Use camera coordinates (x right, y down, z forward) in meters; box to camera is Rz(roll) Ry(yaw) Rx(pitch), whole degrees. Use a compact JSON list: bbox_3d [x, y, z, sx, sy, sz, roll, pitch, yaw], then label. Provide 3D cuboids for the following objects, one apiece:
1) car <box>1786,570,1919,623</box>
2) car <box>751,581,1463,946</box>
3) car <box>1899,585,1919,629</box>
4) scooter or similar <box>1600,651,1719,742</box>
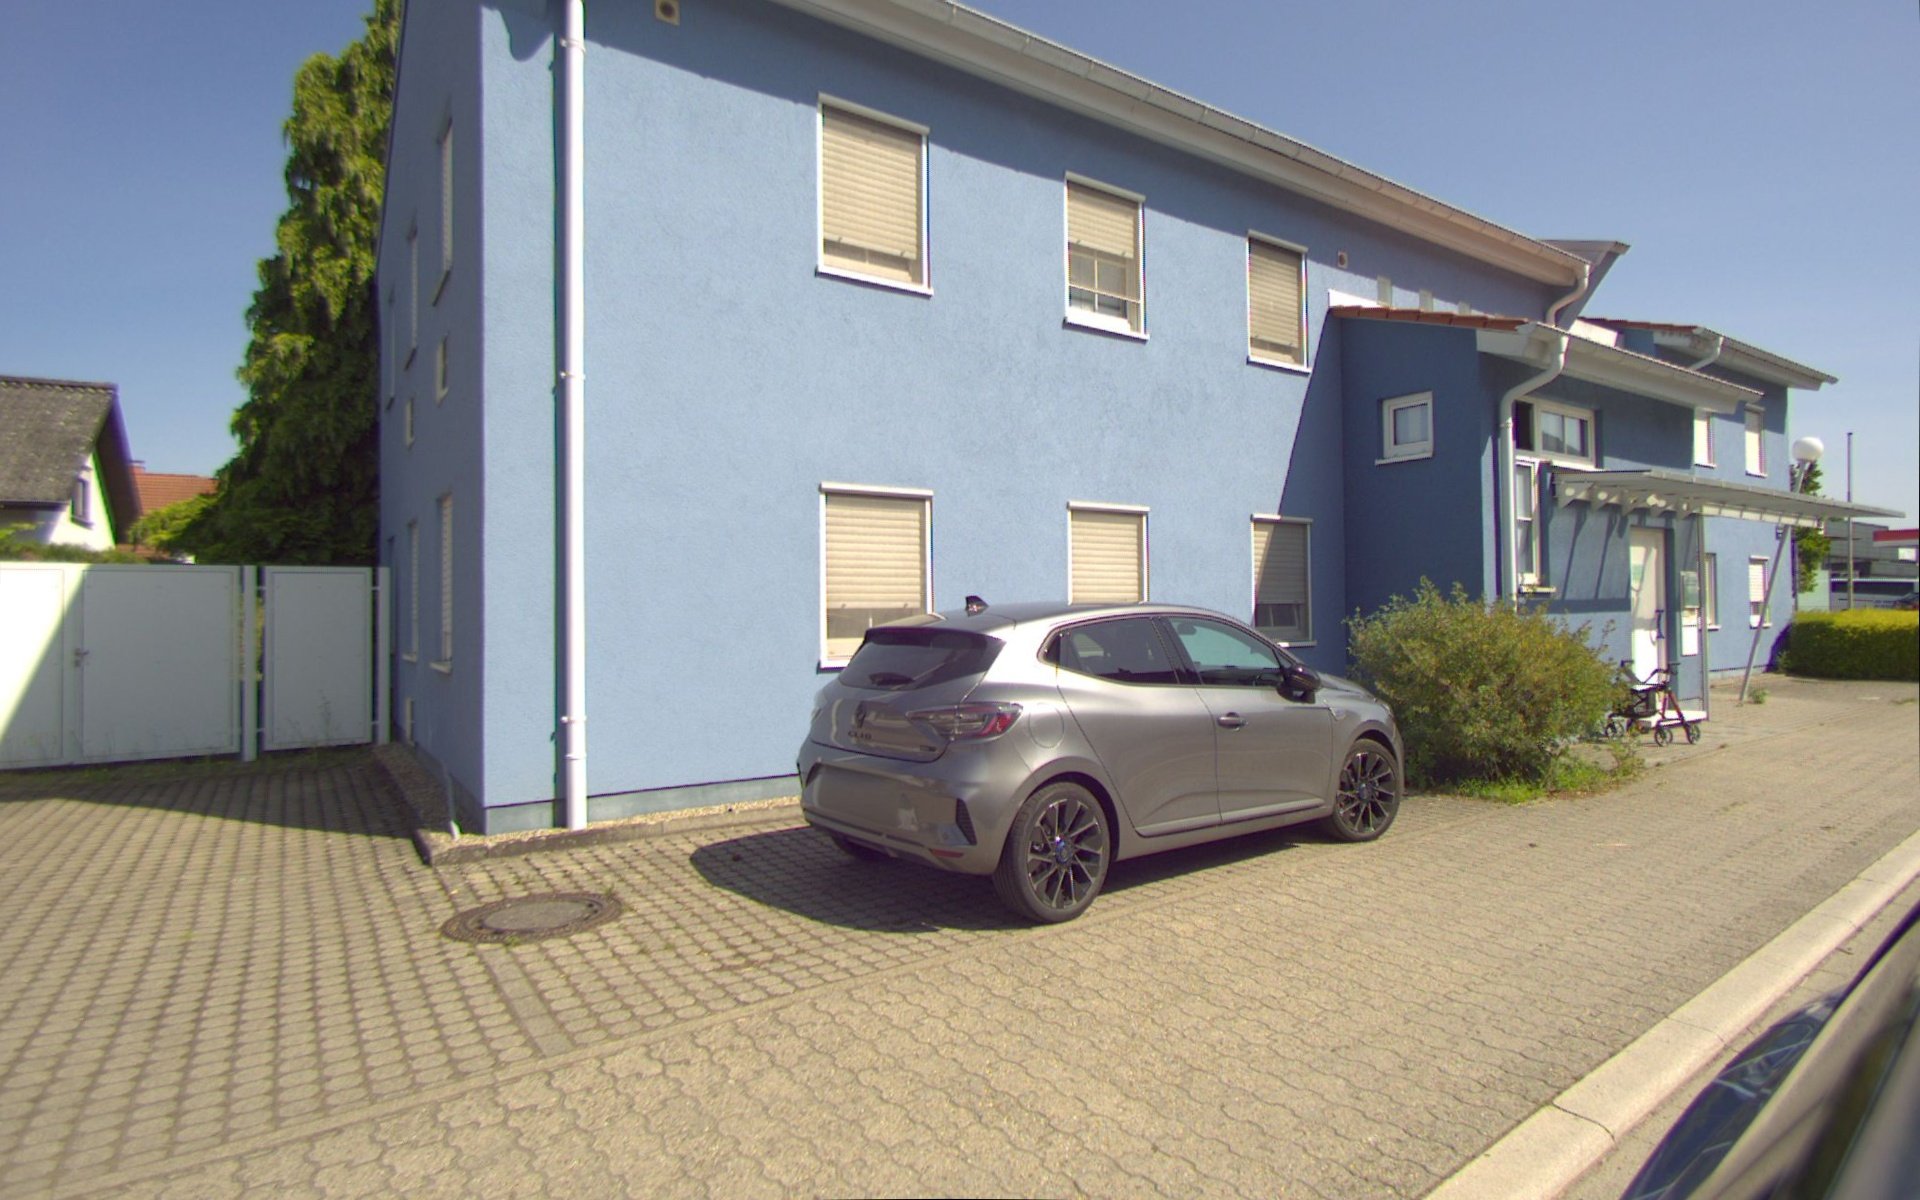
[{"bbox_3d":[36.660,-0.143,40.717,5.260,2.039,2.200,0,0,39],"label":"car"},{"bbox_3d":[1.031,0.640,5.902,4.068,1.438,1.694,-1,-1,-36],"label":"car"},{"bbox_3d":[36.691,0.226,36.089,4.278,1.570,1.965,0,0,29],"label":"car"},{"bbox_3d":[7.146,0.962,10.352,0.811,0.825,0.730,-1,0,-32],"label":"scooter or similar"}]
